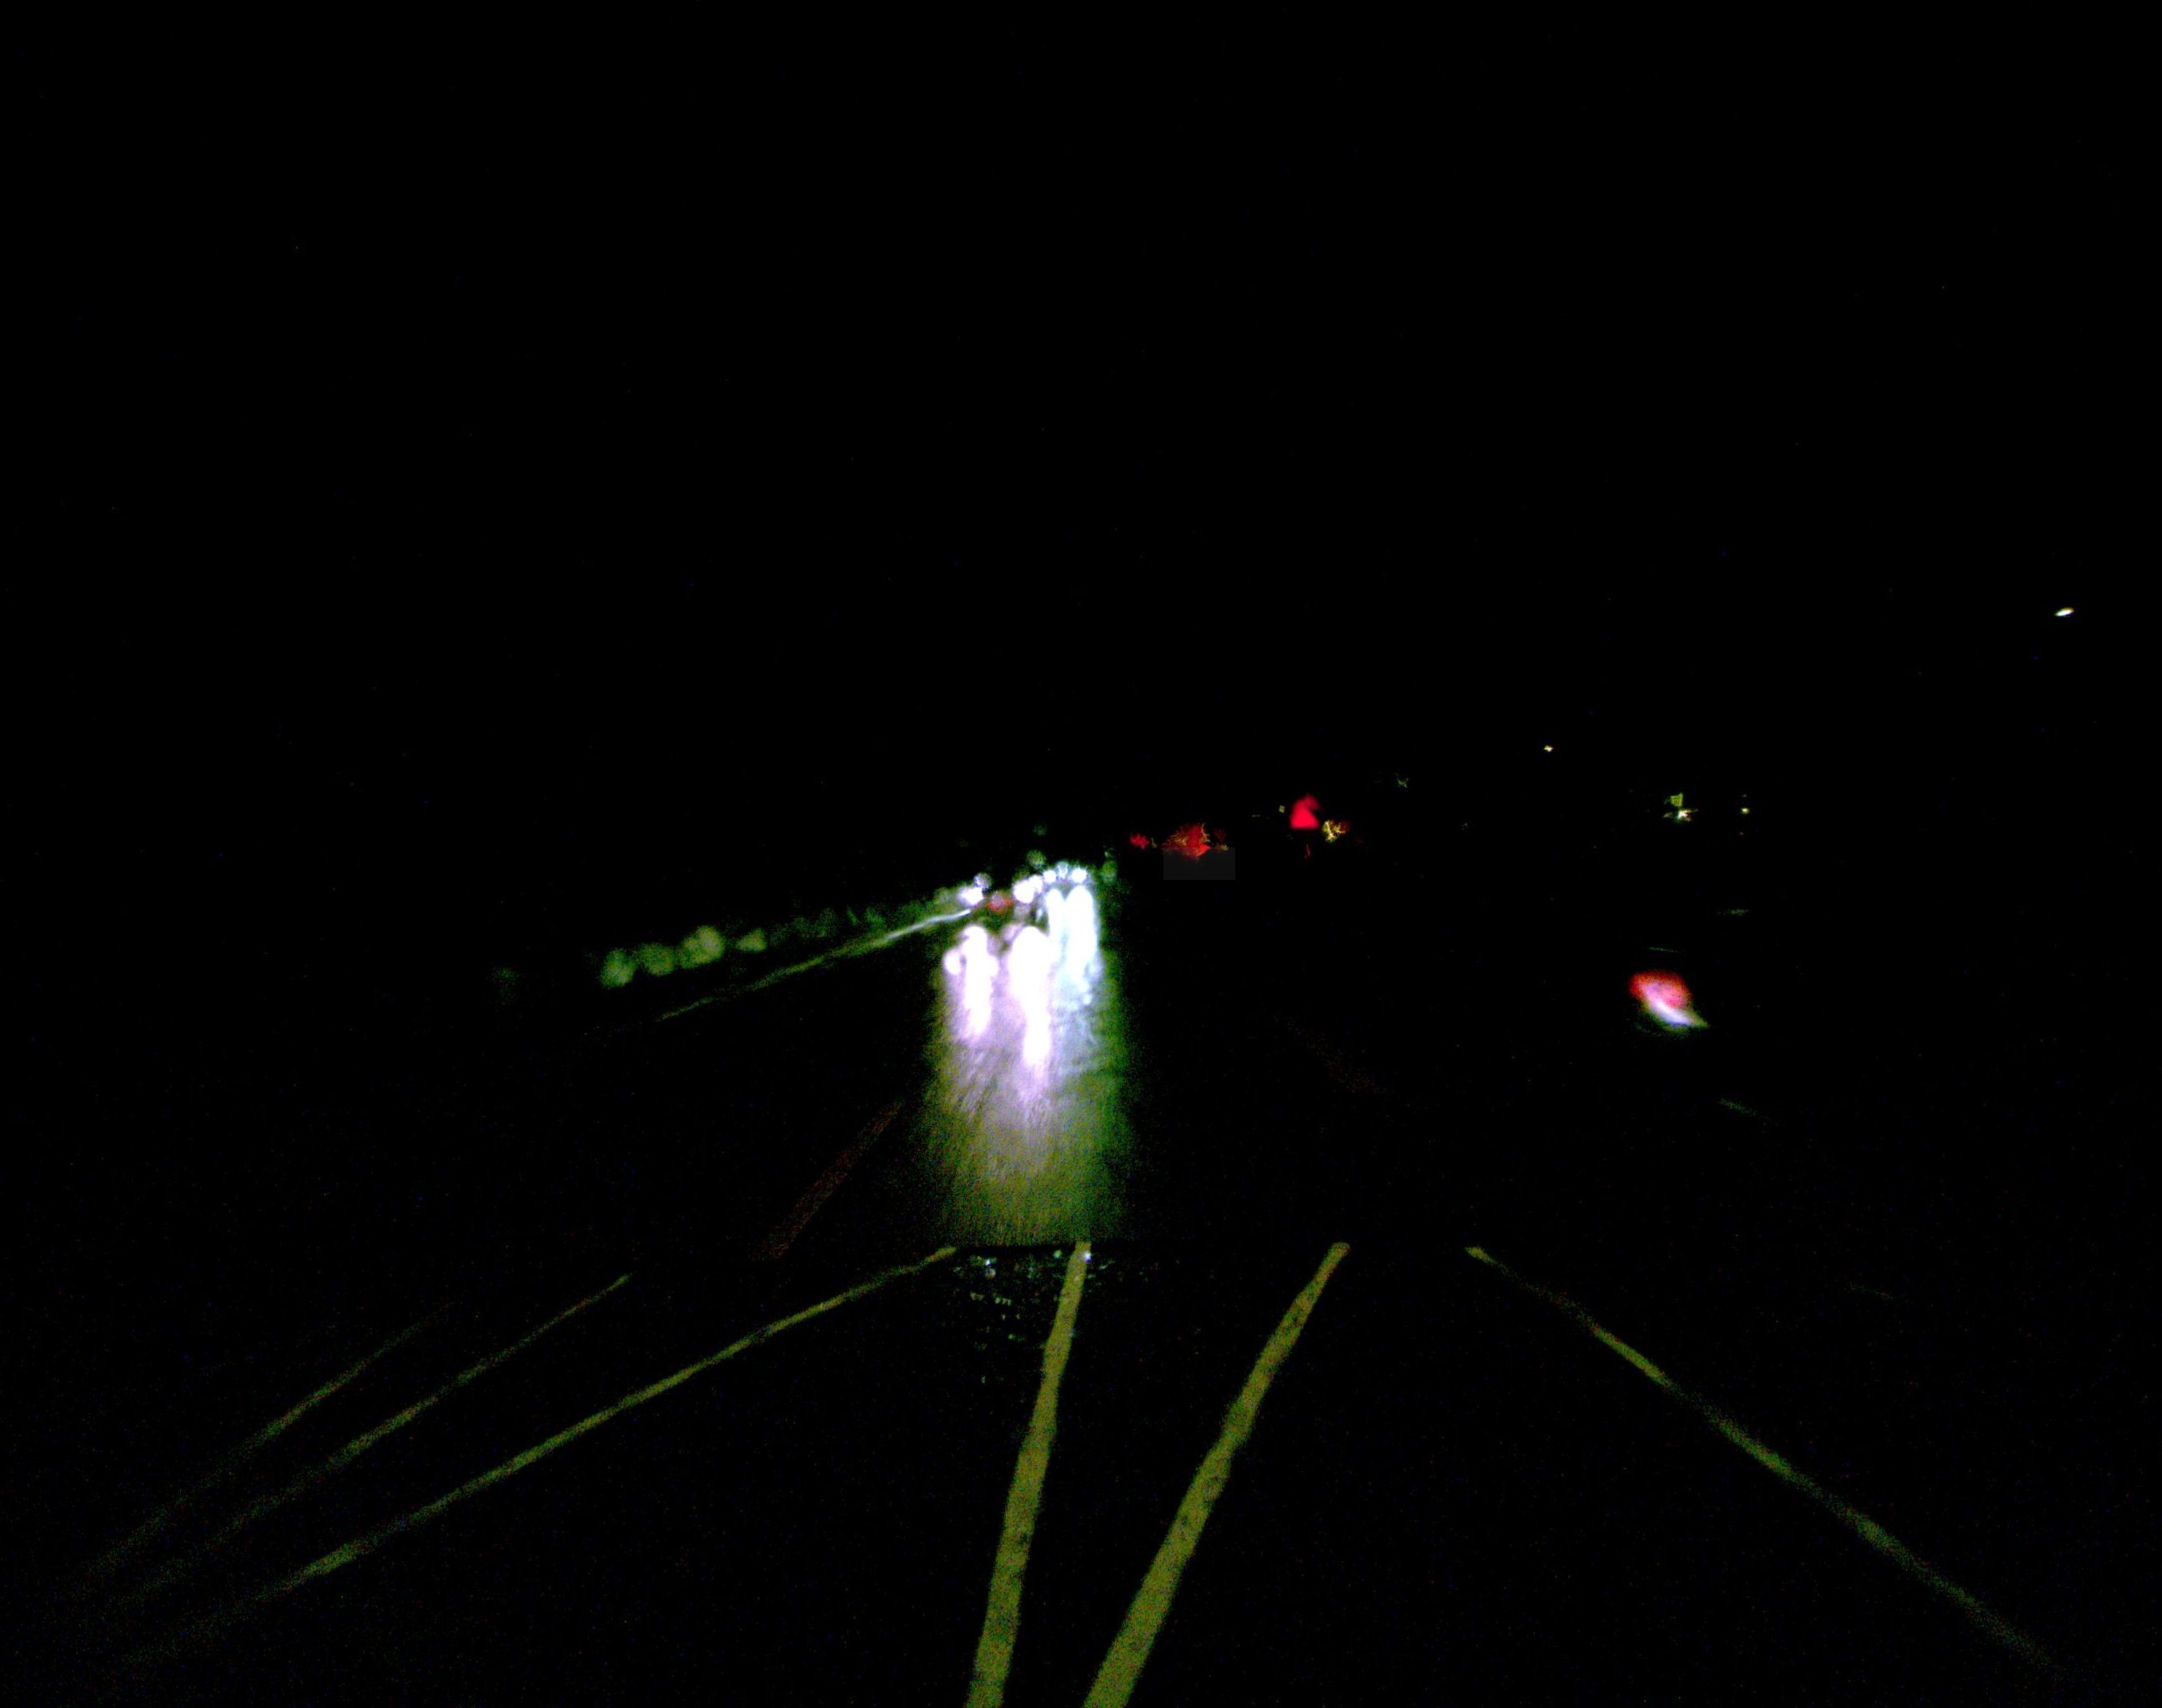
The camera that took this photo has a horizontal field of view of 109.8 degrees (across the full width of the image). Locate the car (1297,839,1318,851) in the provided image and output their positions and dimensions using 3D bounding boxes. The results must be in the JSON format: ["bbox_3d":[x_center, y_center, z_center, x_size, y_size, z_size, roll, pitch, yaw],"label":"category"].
[{"bbox_3d":[33.585,-1.324,112.692,1.790,1.684,4.219,-4,0,2],"label":"car"}]

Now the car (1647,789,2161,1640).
[{"bbox_3d":[3.088,0.725,0.790,1.788,1.771,4.437,-2,0,2],"label":"car"}]

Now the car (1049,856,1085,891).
[{"bbox_3d":[-0.731,1.013,41.574,1.788,1.638,4.435,-3,1,0],"label":"car"}]

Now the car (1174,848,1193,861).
[{"bbox_3d":[12.734,0.047,94.871,1.806,1.579,4.030,-3,1,1],"label":"car"}]

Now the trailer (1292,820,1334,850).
[{"bbox_3d":[44.110,-3.583,145.167,3.980,4.984,14.835,-6,1,3],"label":"trailer"}]

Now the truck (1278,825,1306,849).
[{"bbox_3d":[44.958,-3.698,162.279,3.447,4.583,10.213,-6,1,3],"label":"truck"}]

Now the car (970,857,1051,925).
[{"bbox_3d":[-1.920,0.962,21.897,1.790,1.684,4.219,-2,0,1],"label":"car"}]

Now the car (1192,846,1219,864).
[{"bbox_3d":[12.304,0.092,75.312,1.765,1.632,4.652,-3,0,0],"label":"car"}]

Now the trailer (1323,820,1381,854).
[{"bbox_3d":[42.125,-2.665,119.147,3.980,4.583,15.515,-6,1,3],"label":"trailer"}]

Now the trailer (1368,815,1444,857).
[{"bbox_3d":[41.231,-2.260,97.146,3.980,4.583,14.248,-6,1,3],"label":"trailer"}]
